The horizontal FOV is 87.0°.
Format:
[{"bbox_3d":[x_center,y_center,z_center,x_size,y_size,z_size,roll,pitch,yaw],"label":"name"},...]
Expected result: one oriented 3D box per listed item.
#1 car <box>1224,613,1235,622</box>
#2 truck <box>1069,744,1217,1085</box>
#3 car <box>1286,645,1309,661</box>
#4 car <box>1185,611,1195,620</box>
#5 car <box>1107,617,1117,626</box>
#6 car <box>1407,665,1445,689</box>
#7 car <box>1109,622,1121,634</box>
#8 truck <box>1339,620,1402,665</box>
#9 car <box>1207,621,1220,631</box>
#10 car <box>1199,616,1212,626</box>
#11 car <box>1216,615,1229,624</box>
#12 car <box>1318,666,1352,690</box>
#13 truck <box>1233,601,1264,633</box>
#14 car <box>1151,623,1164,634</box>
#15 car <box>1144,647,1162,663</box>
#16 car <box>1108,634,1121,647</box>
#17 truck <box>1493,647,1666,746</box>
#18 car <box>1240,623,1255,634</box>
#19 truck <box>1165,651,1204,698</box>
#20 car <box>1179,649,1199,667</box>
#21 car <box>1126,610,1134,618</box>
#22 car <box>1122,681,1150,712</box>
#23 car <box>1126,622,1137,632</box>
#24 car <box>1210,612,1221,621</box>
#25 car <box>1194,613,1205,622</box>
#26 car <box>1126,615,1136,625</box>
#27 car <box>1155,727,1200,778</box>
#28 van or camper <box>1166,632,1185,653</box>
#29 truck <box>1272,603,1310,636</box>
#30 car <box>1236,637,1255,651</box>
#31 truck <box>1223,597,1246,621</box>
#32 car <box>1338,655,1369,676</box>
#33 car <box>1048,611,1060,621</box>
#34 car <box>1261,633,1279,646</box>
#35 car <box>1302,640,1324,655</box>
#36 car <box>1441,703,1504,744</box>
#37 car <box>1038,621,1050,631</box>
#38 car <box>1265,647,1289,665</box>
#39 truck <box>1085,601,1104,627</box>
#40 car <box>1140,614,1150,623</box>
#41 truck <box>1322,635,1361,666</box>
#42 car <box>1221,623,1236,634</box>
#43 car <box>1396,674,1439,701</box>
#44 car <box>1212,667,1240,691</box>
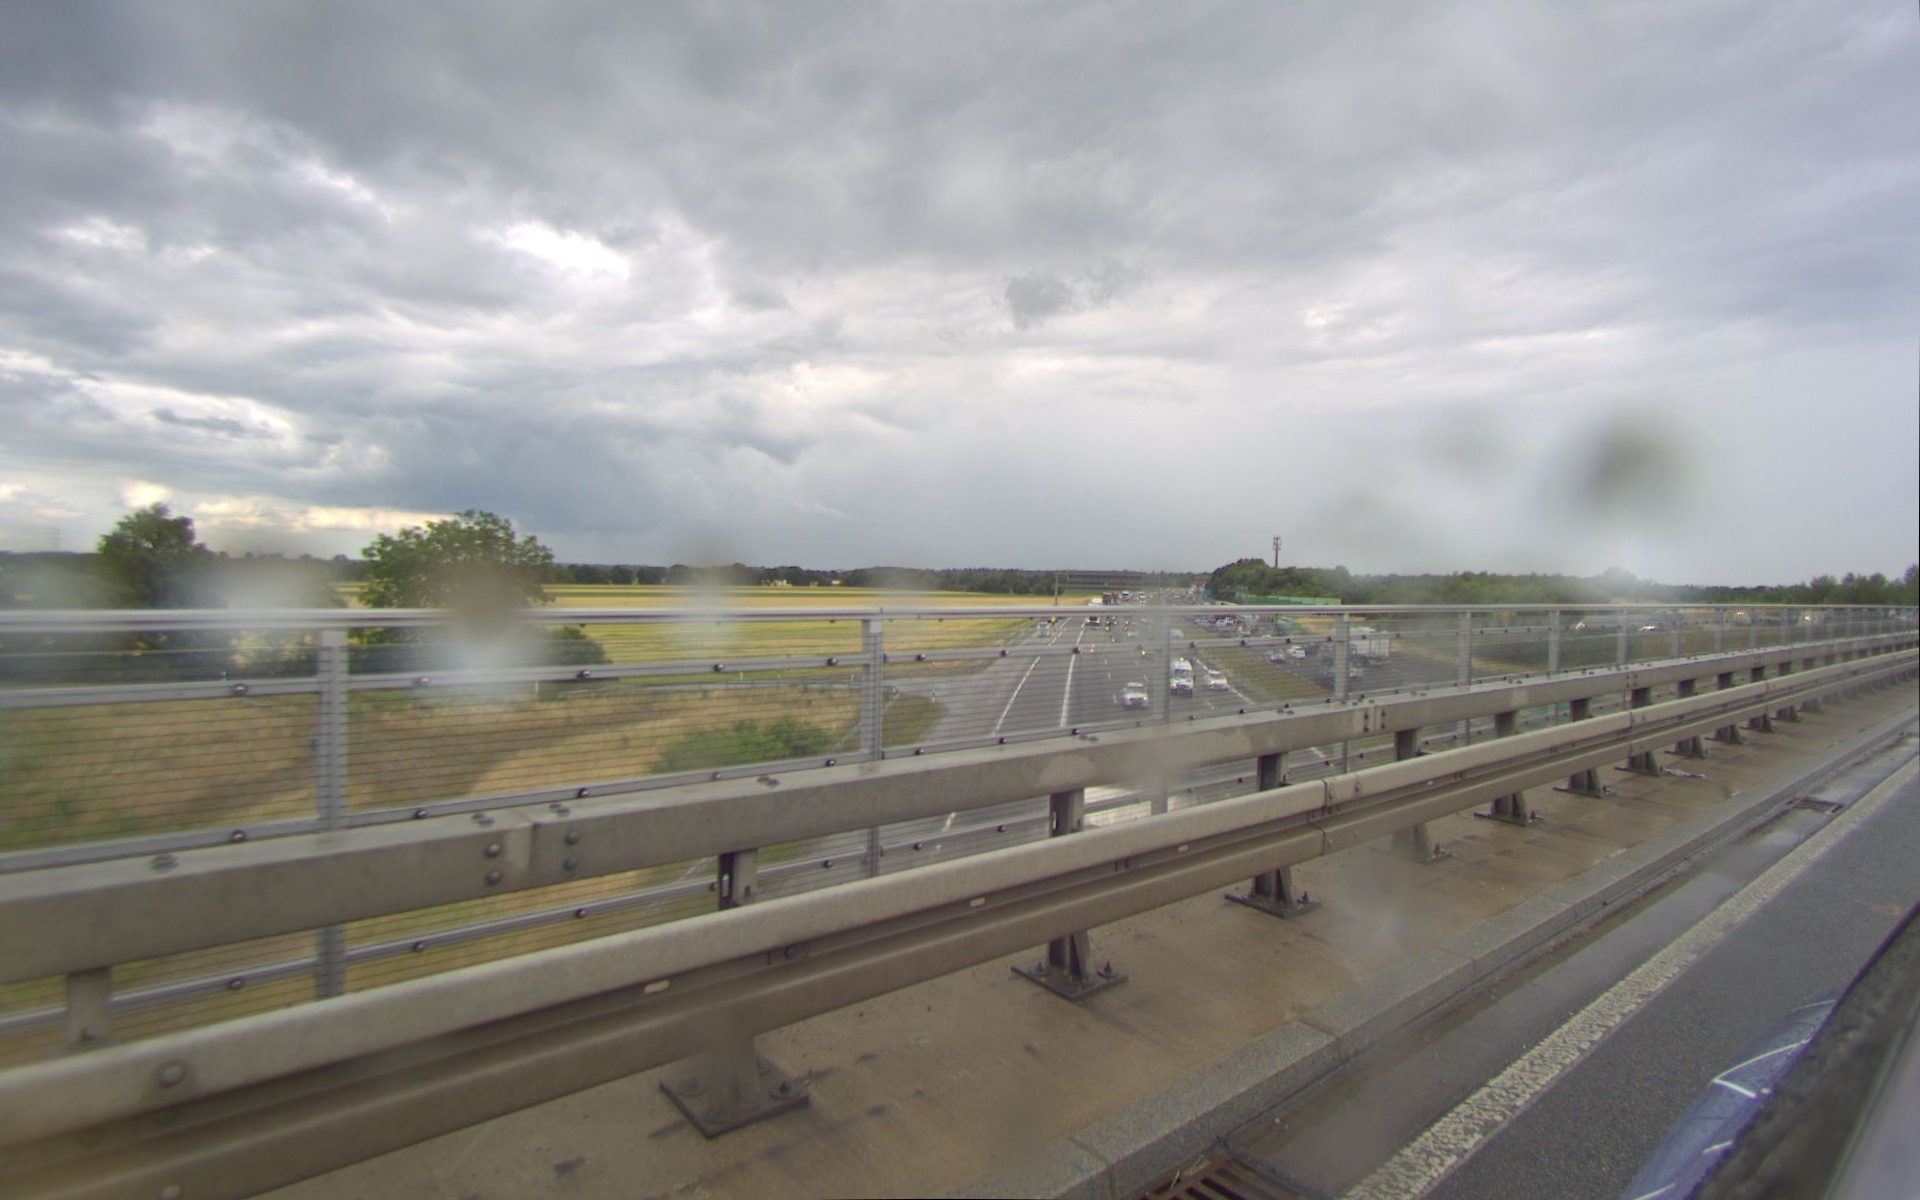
[{"bbox_3d":[57.780,3.653,216.933,1.826,1.797,4.713,0,0,9],"label":"car"},{"bbox_3d":[3.985,6.402,23.331,2.641,4.684,9.731,0,0,8],"label":"truck"},{"bbox_3d":[41.164,6.426,123.527,1.826,1.690,4.713,0,0,9],"label":"car"},{"bbox_3d":[51.616,3.517,227.613,1.826,1.797,4.713,0,0,9],"label":"car"},{"bbox_3d":[29.066,4.071,193.851,1.826,1.690,4.713,0,0,9],"label":"car"},{"bbox_3d":[41.233,6.798,89.680,1.826,1.690,4.713,0,0,9],"label":"car"},{"bbox_3d":[25.383,4.564,165.960,1.826,1.690,4.713,0,0,9],"label":"car"},{"bbox_3d":[48.763,4.862,120.853,3.545,4.594,15.588,0,0,9],"label":"truck"},{"bbox_3d":[44.780,4.536,178.749,1.826,1.690,4.713,0,0,9],"label":"car"},{"bbox_3d":[45.773,3.908,188.723,1.826,1.797,4.713,0,0,9],"label":"car"},{"bbox_3d":[52.049,3.843,200.720,1.826,1.797,4.713,0,0,9],"label":"car"},{"bbox_3d":[32.641,6.721,88.112,1.826,1.690,4.713,0,0,9],"label":"car"},{"bbox_3d":[53.301,3.012,187.190,3.241,5.511,15.595,0,0,8],"label":"truck"},{"bbox_3d":[31.924,4.590,163.301,1.826,1.690,4.713,0,0,9],"label":"car"},{"bbox_3d":[22.828,6.495,119.668,1.784,1.690,4.713,0,0,8],"label":"car"},{"bbox_3d":[22.691,5.921,149.032,1.826,1.690,4.713,0,0,9],"label":"car"},{"bbox_3d":[38.074,5.638,63.333,3.545,4.594,15.588,0,0,9],"label":"truck"},{"bbox_3d":[48.203,4.761,169.485,1.826,1.797,4.713,0,0,9],"label":"car"},{"bbox_3d":[18.615,6.108,84.294,2.553,3.219,8.375,0,0,9],"label":"truck"},{"bbox_3d":[25.641,6.493,113.297,1.784,1.690,4.713,0,0,8],"label":"car"},{"bbox_3d":[40.774,3.385,242.245,1.826,1.690,4.713,0,0,9],"label":"car"},{"bbox_3d":[12.618,6.914,72.780,1.784,1.690,4.713,0,0,8],"label":"car"},{"bbox_3d":[29.203,4.601,172.639,1.826,1.690,4.713,0,0,9],"label":"car"},{"bbox_3d":[55.748,3.598,220.648,1.826,1.797,4.713,0,0,9],"label":"car"},{"bbox_3d":[49.625,3.662,210.169,1.826,1.797,4.713,0,0,9],"label":"car"},{"bbox_3d":[33.408,3.886,197.874,1.826,1.690,4.713,0,0,9],"label":"car"},{"bbox_3d":[10.374,7.241,48.503,1.784,1.690,4.713,0,0,8],"label":"car"},{"bbox_3d":[29.261,5.794,137.735,2.026,2.481,7.312,0,0,9],"label":"van or camper"},{"bbox_3d":[55.960,3.143,171.563,3.241,5.230,15.595,0,0,8],"label":"truck"},{"bbox_3d":[39.328,6.007,139.526,1.826,1.690,4.713,0,0,9],"label":"car"},{"bbox_3d":[65.518,2.114,241.800,3.434,5.420,15.595,0,0,8],"label":"truck"},{"bbox_3d":[38.242,6.369,98.518,1.826,1.690,4.713,0,0,9],"label":"car"},{"bbox_3d":[16.977,2.850,182.935,1.826,1.690,4.713,0,0,9],"label":"car"},{"bbox_3d":[44.827,5.761,146.569,1.826,1.690,4.713,0,0,9],"label":"car"},{"bbox_3d":[45.758,6.104,131.291,1.826,1.690,4.713,0,0,9],"label":"car"},{"bbox_3d":[29.223,7.016,57.859,1.826,1.690,4.713,0,0,9],"label":"car"},{"bbox_3d":[13.609,4.248,164.133,1.784,1.454,4.714,0,0,7],"label":"car"},{"bbox_3d":[35.817,6.309,114.326,1.826,1.690,4.713,0,0,9],"label":"car"},{"bbox_3d":[26.531,2.658,199.635,2.751,4.962,12.711,0,0,12],"label":"truck"},{"bbox_3d":[38.240,3.794,209.201,1.826,1.690,4.713,0,0,9],"label":"car"},{"bbox_3d":[43.690,5.710,116.155,2.175,3.003,9.285,0,0,8],"label":"truck"},{"bbox_3d":[42.830,4.537,161.667,1.826,1.690,4.713,0,0,9],"label":"car"},{"bbox_3d":[35.647,6.791,78.948,1.826,1.690,4.713,0,0,9],"label":"car"},{"bbox_3d":[23.080,6.842,87.987,1.784,1.690,4.713,0,0,8],"label":"car"}]
